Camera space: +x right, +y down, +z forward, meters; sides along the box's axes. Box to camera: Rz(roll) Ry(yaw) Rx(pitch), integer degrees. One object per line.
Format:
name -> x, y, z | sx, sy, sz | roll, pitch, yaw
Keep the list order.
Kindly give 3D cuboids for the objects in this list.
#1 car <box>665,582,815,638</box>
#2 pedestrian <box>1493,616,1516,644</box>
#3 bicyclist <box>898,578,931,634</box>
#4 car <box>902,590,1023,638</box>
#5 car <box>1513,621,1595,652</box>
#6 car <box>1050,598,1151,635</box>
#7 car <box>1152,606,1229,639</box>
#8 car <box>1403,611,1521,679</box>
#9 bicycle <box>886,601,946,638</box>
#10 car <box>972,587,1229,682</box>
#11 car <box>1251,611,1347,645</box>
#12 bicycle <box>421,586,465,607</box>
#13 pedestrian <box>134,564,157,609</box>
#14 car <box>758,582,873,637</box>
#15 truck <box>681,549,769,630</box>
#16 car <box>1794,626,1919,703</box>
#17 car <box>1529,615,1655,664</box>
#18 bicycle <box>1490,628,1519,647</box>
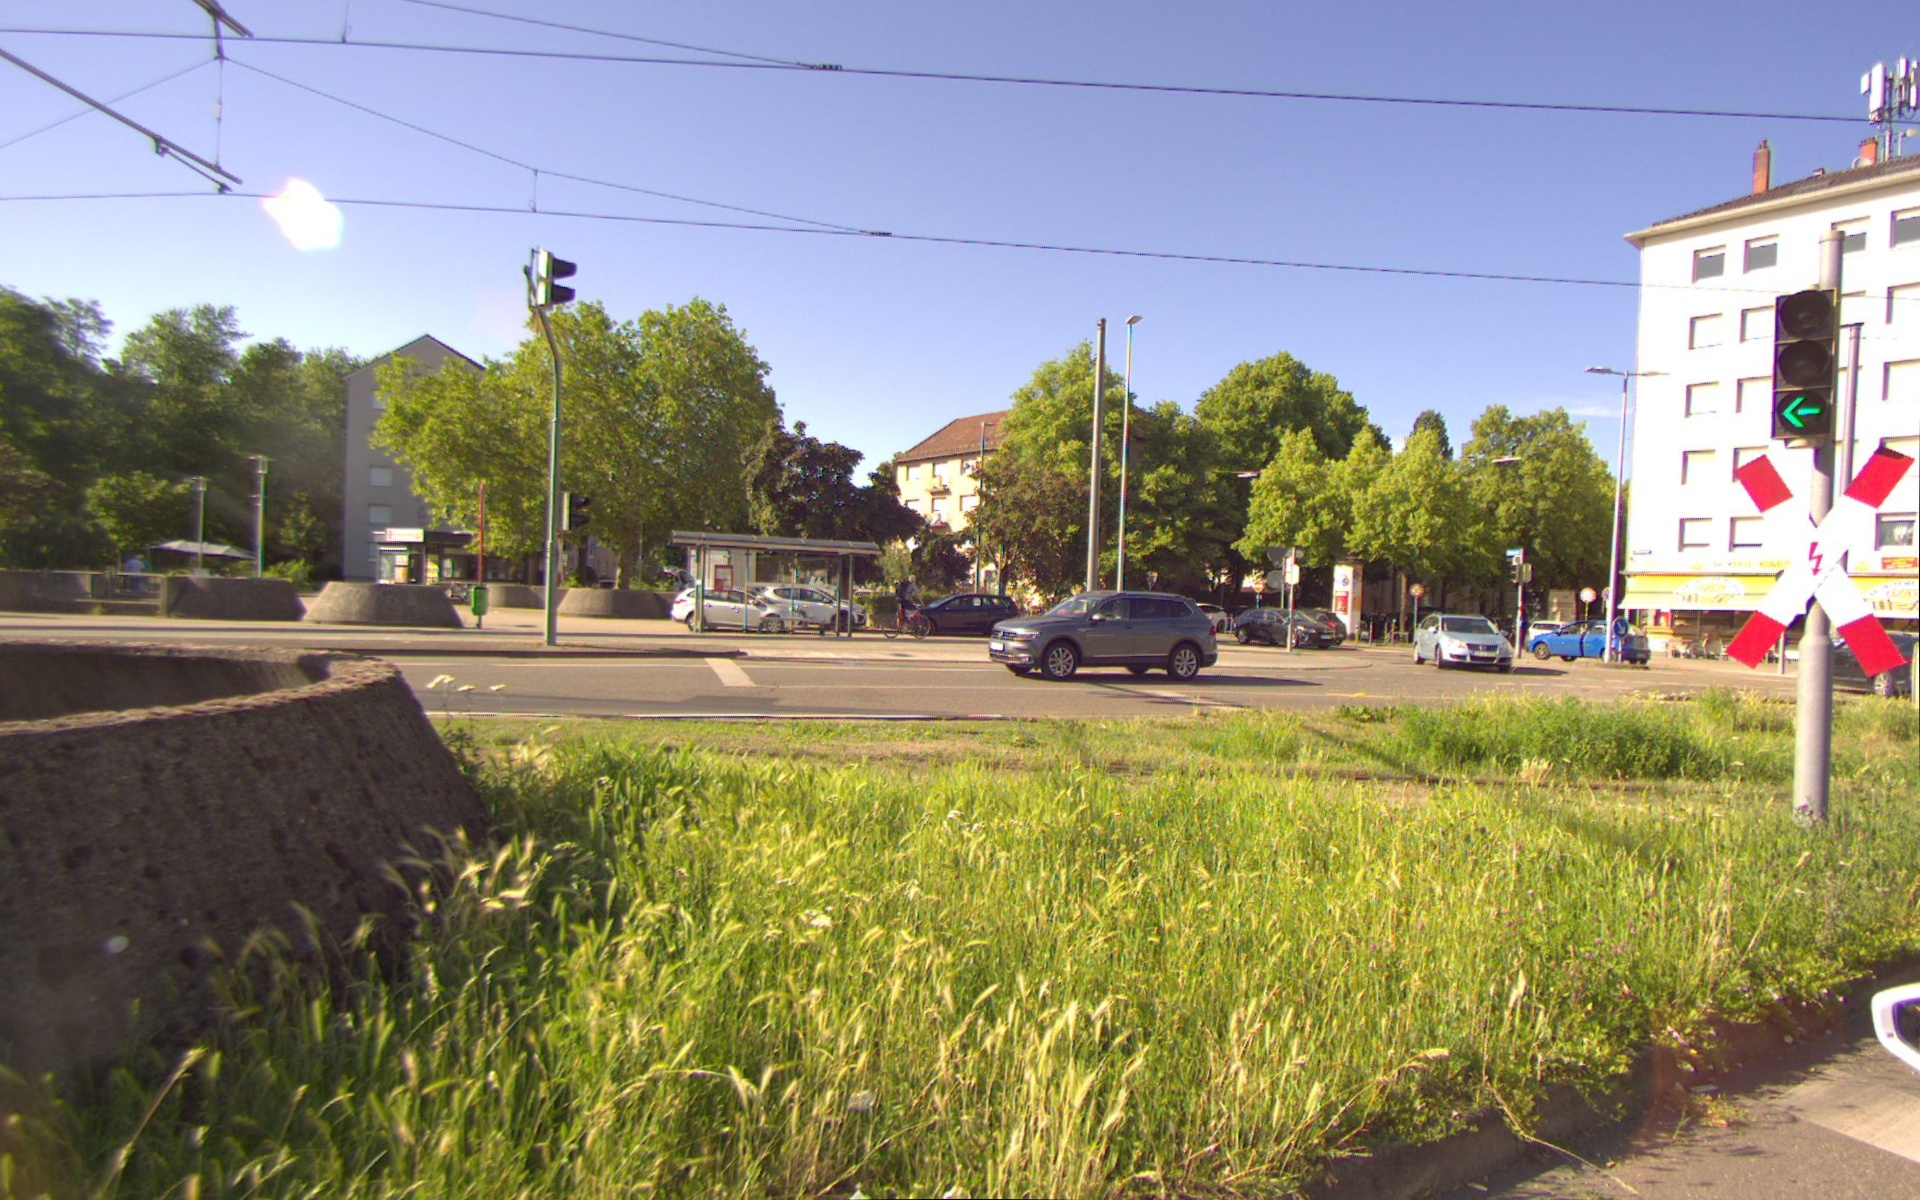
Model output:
car -> -7.286, 0.300, 33.462 | 4.457, 1.565, 1.873 | 3, 3, 6
pedestrian -> 29.220, 1.617, 53.866 | 0.932, 1.446, 0.766 | 2, 1, -42
bicyclist -> -1.294, 0.169, 28.382 | 0.670, 1.551, 0.607 | 0, 2, -37
car -> 0.064, 0.492, 35.857 | 3.942, 1.509, 1.757 | 1, 3, -16
car -> 28.070, 1.722, 47.418 | 3.964, 1.327, 1.978 | 2, 0, -38
car -> 6.514, 0.745, 46.870 | 1.744, 1.508, 4.482 | 2, 1, -45
car -> 12.753, 1.257, 55.524 | 4.184, 1.639, 1.748 | 2, 1, -35
car -> 13.533, 1.140, 27.360 | 1.699, 1.461, 4.884 | 3, 2, 13
bicycle -> -1.232, 0.542, 28.461 | 1.643, 1.014, 0.607 | 1, 2, -38
car -> 2.731, 0.664, 19.368 | 4.657, 1.635, 1.748 | 2, 0, -24
car -> 14.788, 1.204, 43.926 | 1.683, 1.270, 3.581 | 2, 1, -42
bicycle -> -21.919, -0.146, 42.611 | 1.651, 0.850, 0.548 | 3, 1, 10
pedestrian -> -33.895, -0.556, 41.804 | 0.716, 1.853, 0.557 | 3, 1, 39
car -> -5.183, 0.333, 35.975 | 3.929, 1.741, 1.760 | 2, 3, -10
truck -> -9.370, -0.430, 40.525 | 1.960, 3.035, 4.830 | 2, 1, 5
car -> 21.067, 1.430, 22.718 | 1.730, 1.506, 4.295 | 2, 0, 15
car -> 21.595, 1.309, 34.473 | 1.625, 1.457, 3.383 | 2, 0, -17
bicycle -> 29.209, 2.007, 53.870 | 1.843, 0.964, 0.775 | 3, 1, -43
